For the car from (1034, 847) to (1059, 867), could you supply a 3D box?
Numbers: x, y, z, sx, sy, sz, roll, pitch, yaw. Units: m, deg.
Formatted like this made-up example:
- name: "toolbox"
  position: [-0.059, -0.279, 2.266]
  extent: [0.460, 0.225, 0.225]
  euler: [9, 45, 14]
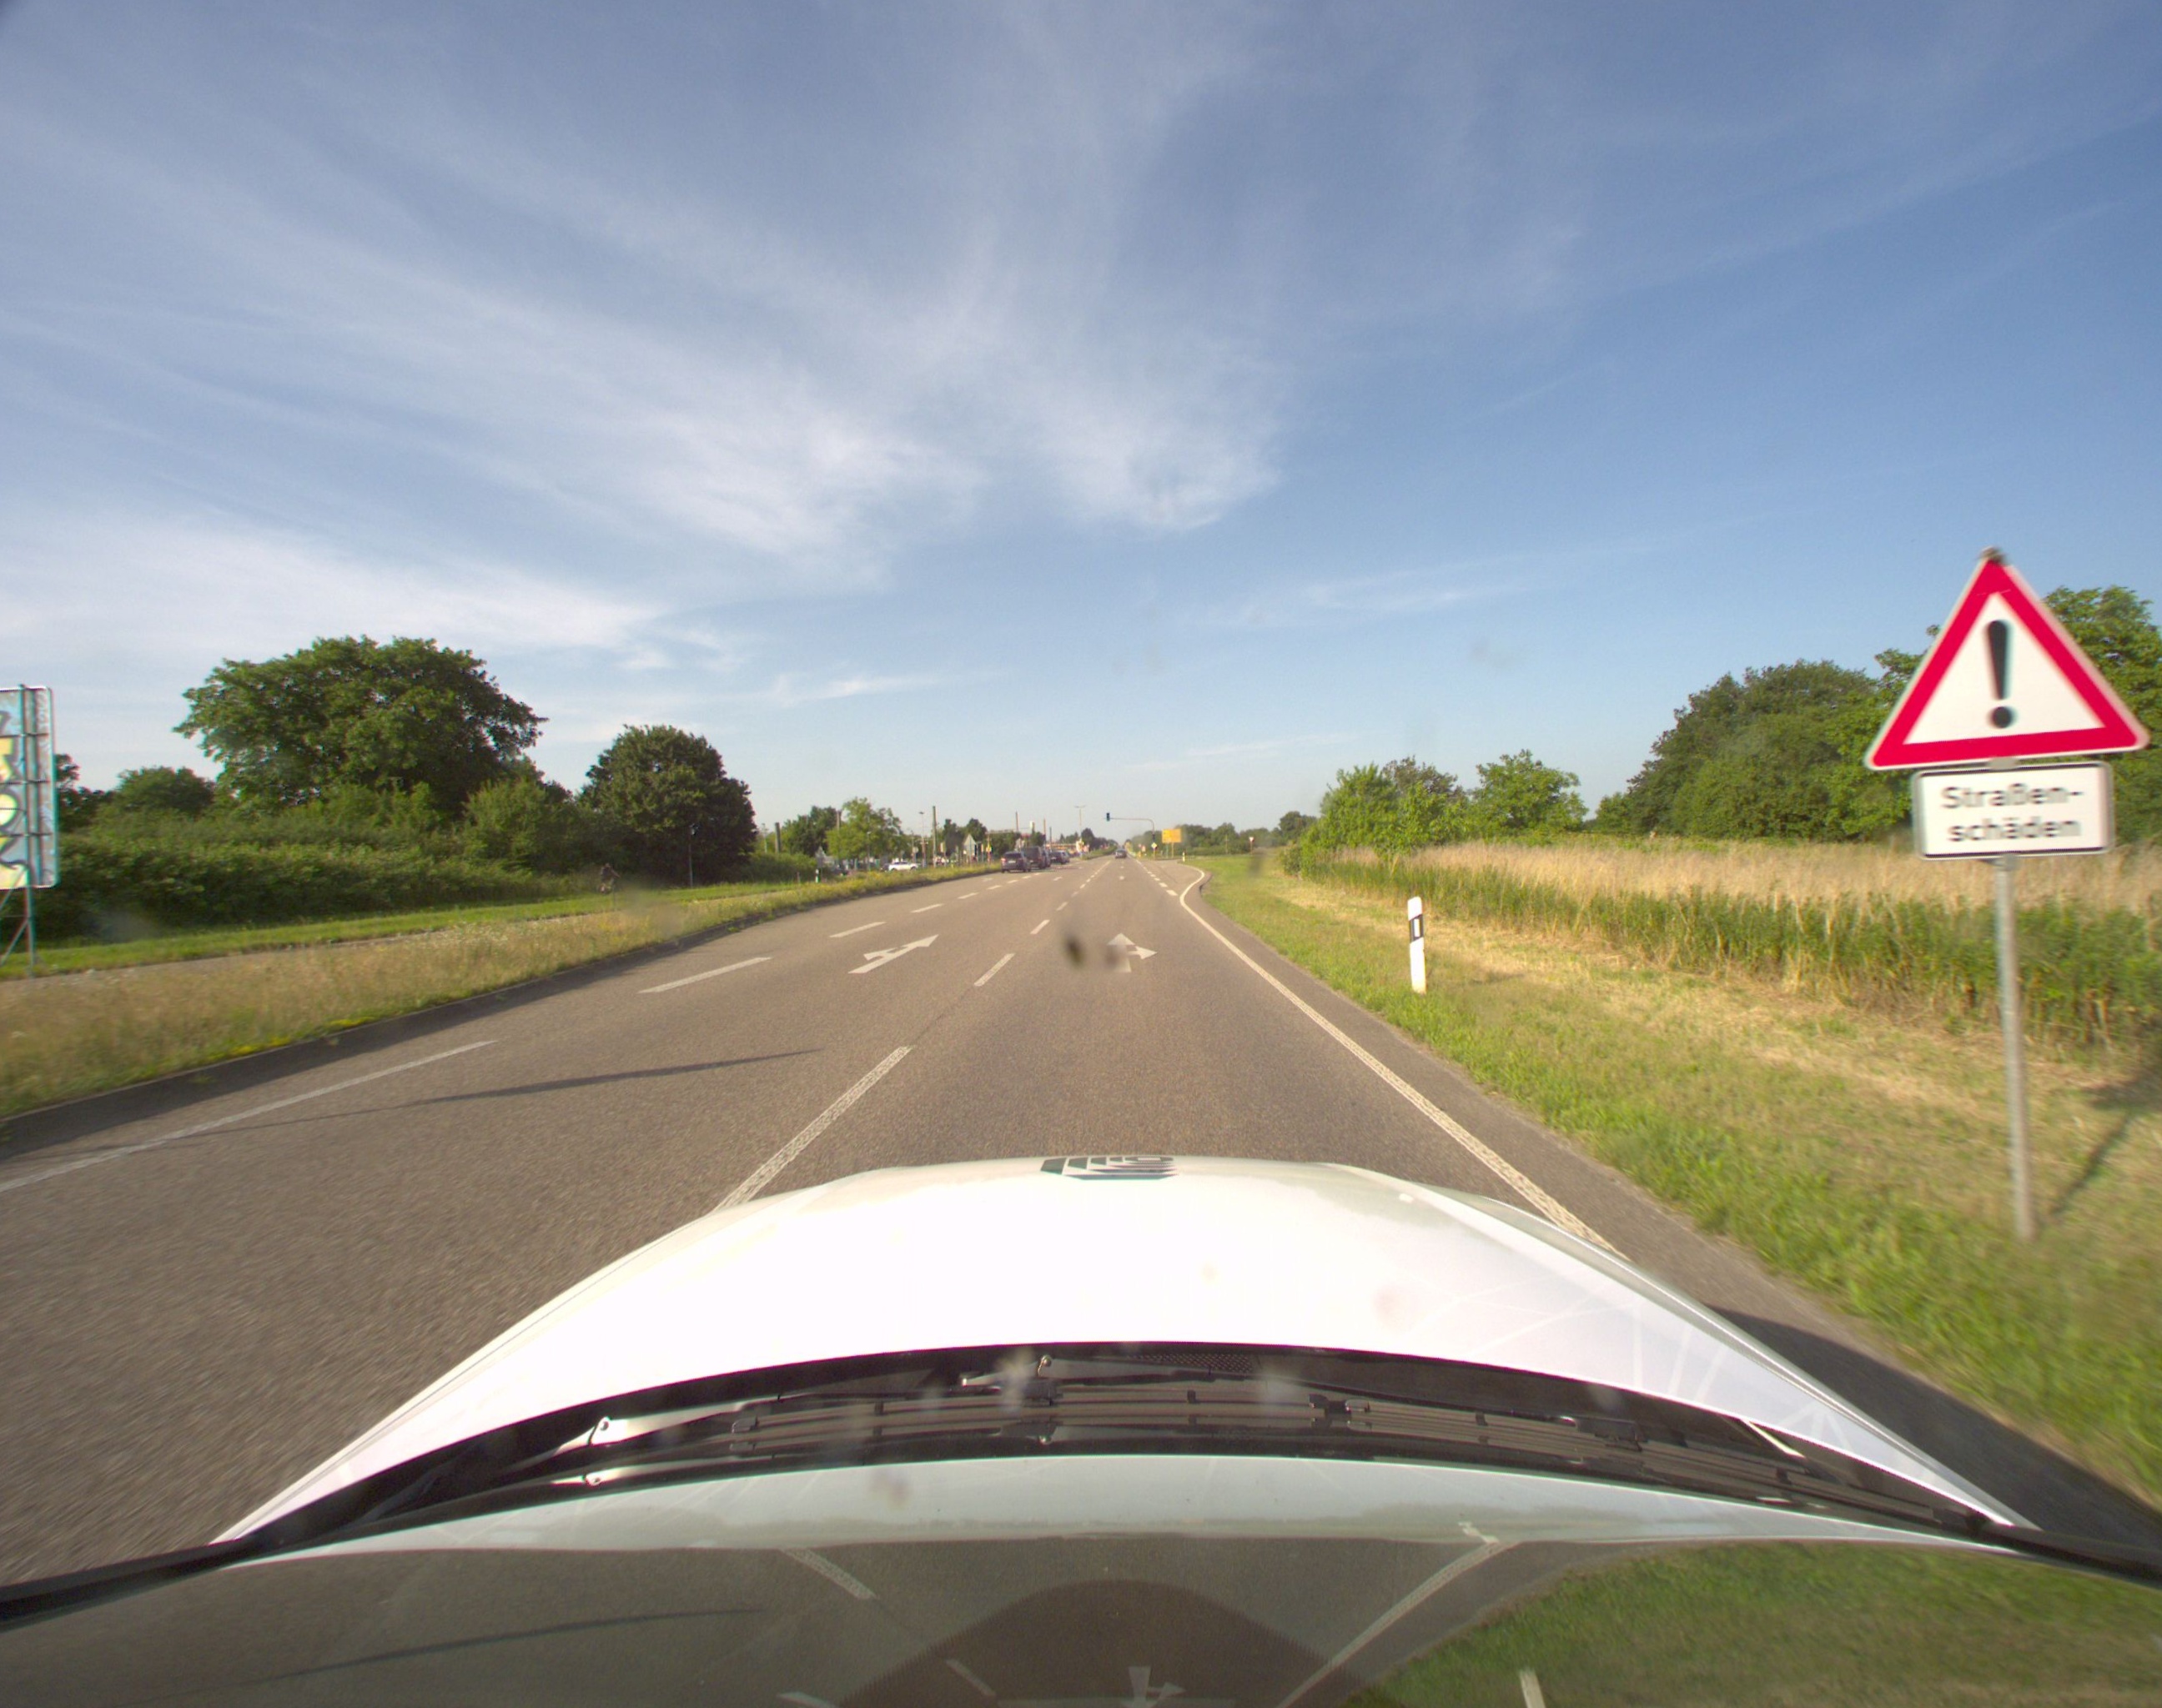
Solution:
- name: "car"
  position: [-3.065, 0.216, 72.885]
  extent: [1.762, 1.679, 4.524]
  euler: [-2, 0, 4]

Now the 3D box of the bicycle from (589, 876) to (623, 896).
- name: "bicycle"
  position: [-22.478, 1.494, 38.574]
  extent: [0.527, 0.878, 1.706]
  euler: [-2, 0, 3]

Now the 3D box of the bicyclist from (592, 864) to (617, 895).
- name: "bicyclist"
  position: [-22.503, 1.208, 38.491]
  extent: [0.465, 1.389, 1.048]
  euler: [-2, 0, 3]

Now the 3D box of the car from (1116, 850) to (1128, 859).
- name: "car"
  position: [7.363, 0.070, 145.903]
  extent: [1.985, 1.552, 4.004]
  euler: [-2, 0, 4]

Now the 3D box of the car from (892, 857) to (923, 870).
- name: "car"
  position: [-23.142, 1.309, 108.778]
  extent: [3.985, 1.662, 1.882]
  euler: [0, -1, -8]

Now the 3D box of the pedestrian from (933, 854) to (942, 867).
- name: "pedestrian"
  position: [-18.149, 0.812, 102.865]
  extent: [0.913, 1.706, 1.066]
  euler: [0, -1, -3]

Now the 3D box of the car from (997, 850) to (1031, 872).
- name: "car"
  position: [-4.706, 0.451, 57.956]
  extent: [1.725, 1.456, 4.524]
  euler: [-2, 0, 4]

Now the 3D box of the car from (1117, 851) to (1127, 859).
- name: "car"
  position: [8.849, 0.147, 174.225]
  extent: [1.985, 1.552, 4.004]
  euler: [-2, 0, 4]

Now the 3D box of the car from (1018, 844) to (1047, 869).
- name: "car"
  position: [-3.840, 0.171, 65.153]
  extent: [1.725, 1.855, 4.524]
  euler: [-2, 0, 4]

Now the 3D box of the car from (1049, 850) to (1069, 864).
- name: "car"
  position: [-2.334, 0.296, 87.035]
  extent: [1.762, 1.471, 4.019]
  euler: [-2, 0, 4]

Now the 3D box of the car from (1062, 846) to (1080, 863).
- name: "car"
  position: [-1.176, 0.045, 97.637]
  extent: [1.821, 2.013, 4.003]
  euler: [-2, 0, 3]
